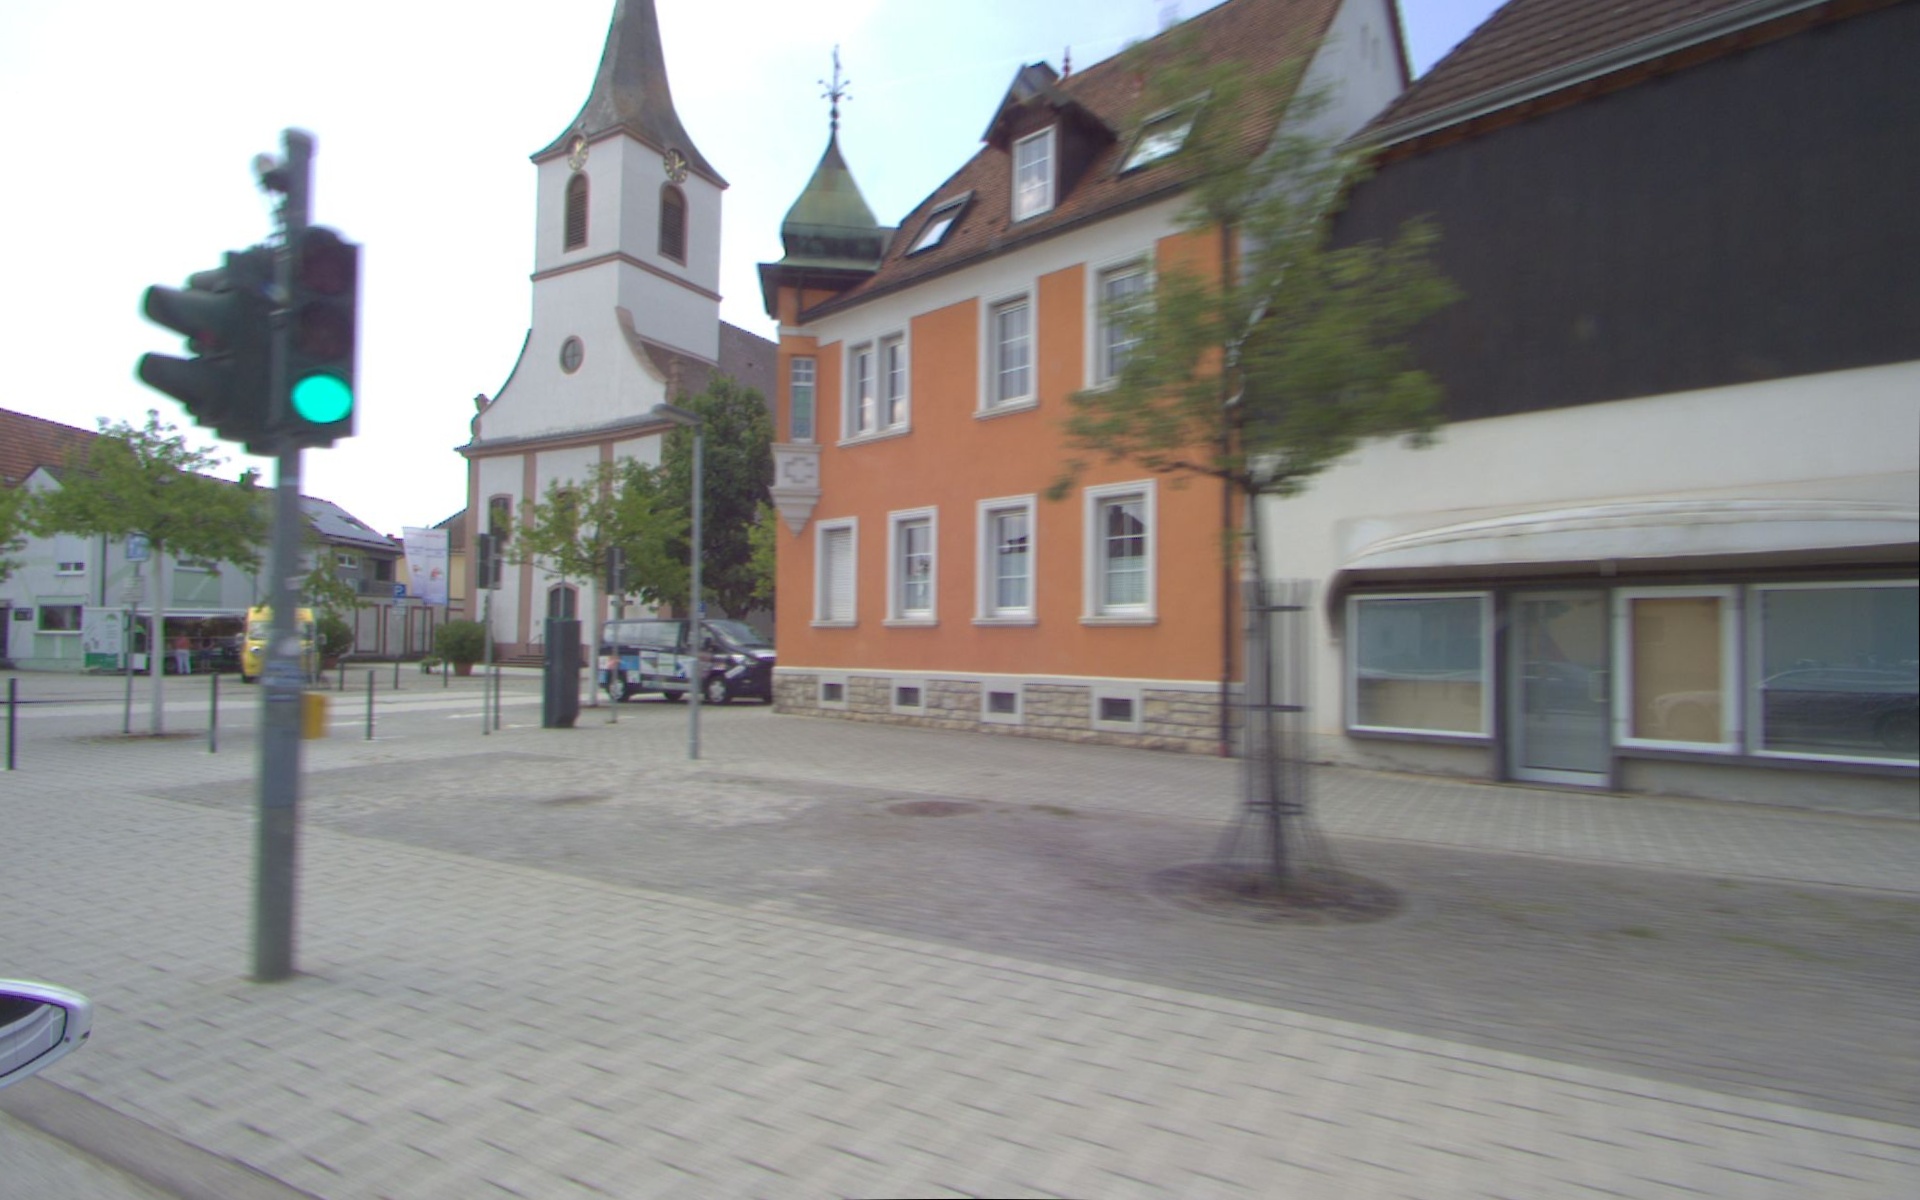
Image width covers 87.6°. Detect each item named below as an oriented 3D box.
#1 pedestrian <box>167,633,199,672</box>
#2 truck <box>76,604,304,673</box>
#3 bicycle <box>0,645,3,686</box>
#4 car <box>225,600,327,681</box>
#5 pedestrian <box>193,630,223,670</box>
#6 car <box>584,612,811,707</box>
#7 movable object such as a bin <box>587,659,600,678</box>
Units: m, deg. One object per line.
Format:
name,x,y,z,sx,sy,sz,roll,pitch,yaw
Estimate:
pedestrian,-29.777,1.996,38.373,0.748,1.460,0.644,-1,-1,19
truck,-30.968,1.596,40.688,2.906,2.528,6.815,0,-3,20
bicycle,-26.468,1.715,26.327,2.071,1.081,0.757,1,-2,9
car,-23.664,1.396,34.698,2.620,2.508,6.920,2,-3,-34
pedestrian,-29.571,1.961,39.401,0.800,1.559,0.560,0,-2,21
car,-6.318,1.357,23.887,5.413,2.039,1.992,-1,-3,31
movable object such as a bin,-13.917,2.585,38.026,0.359,0.708,0.293,0,-2,18
